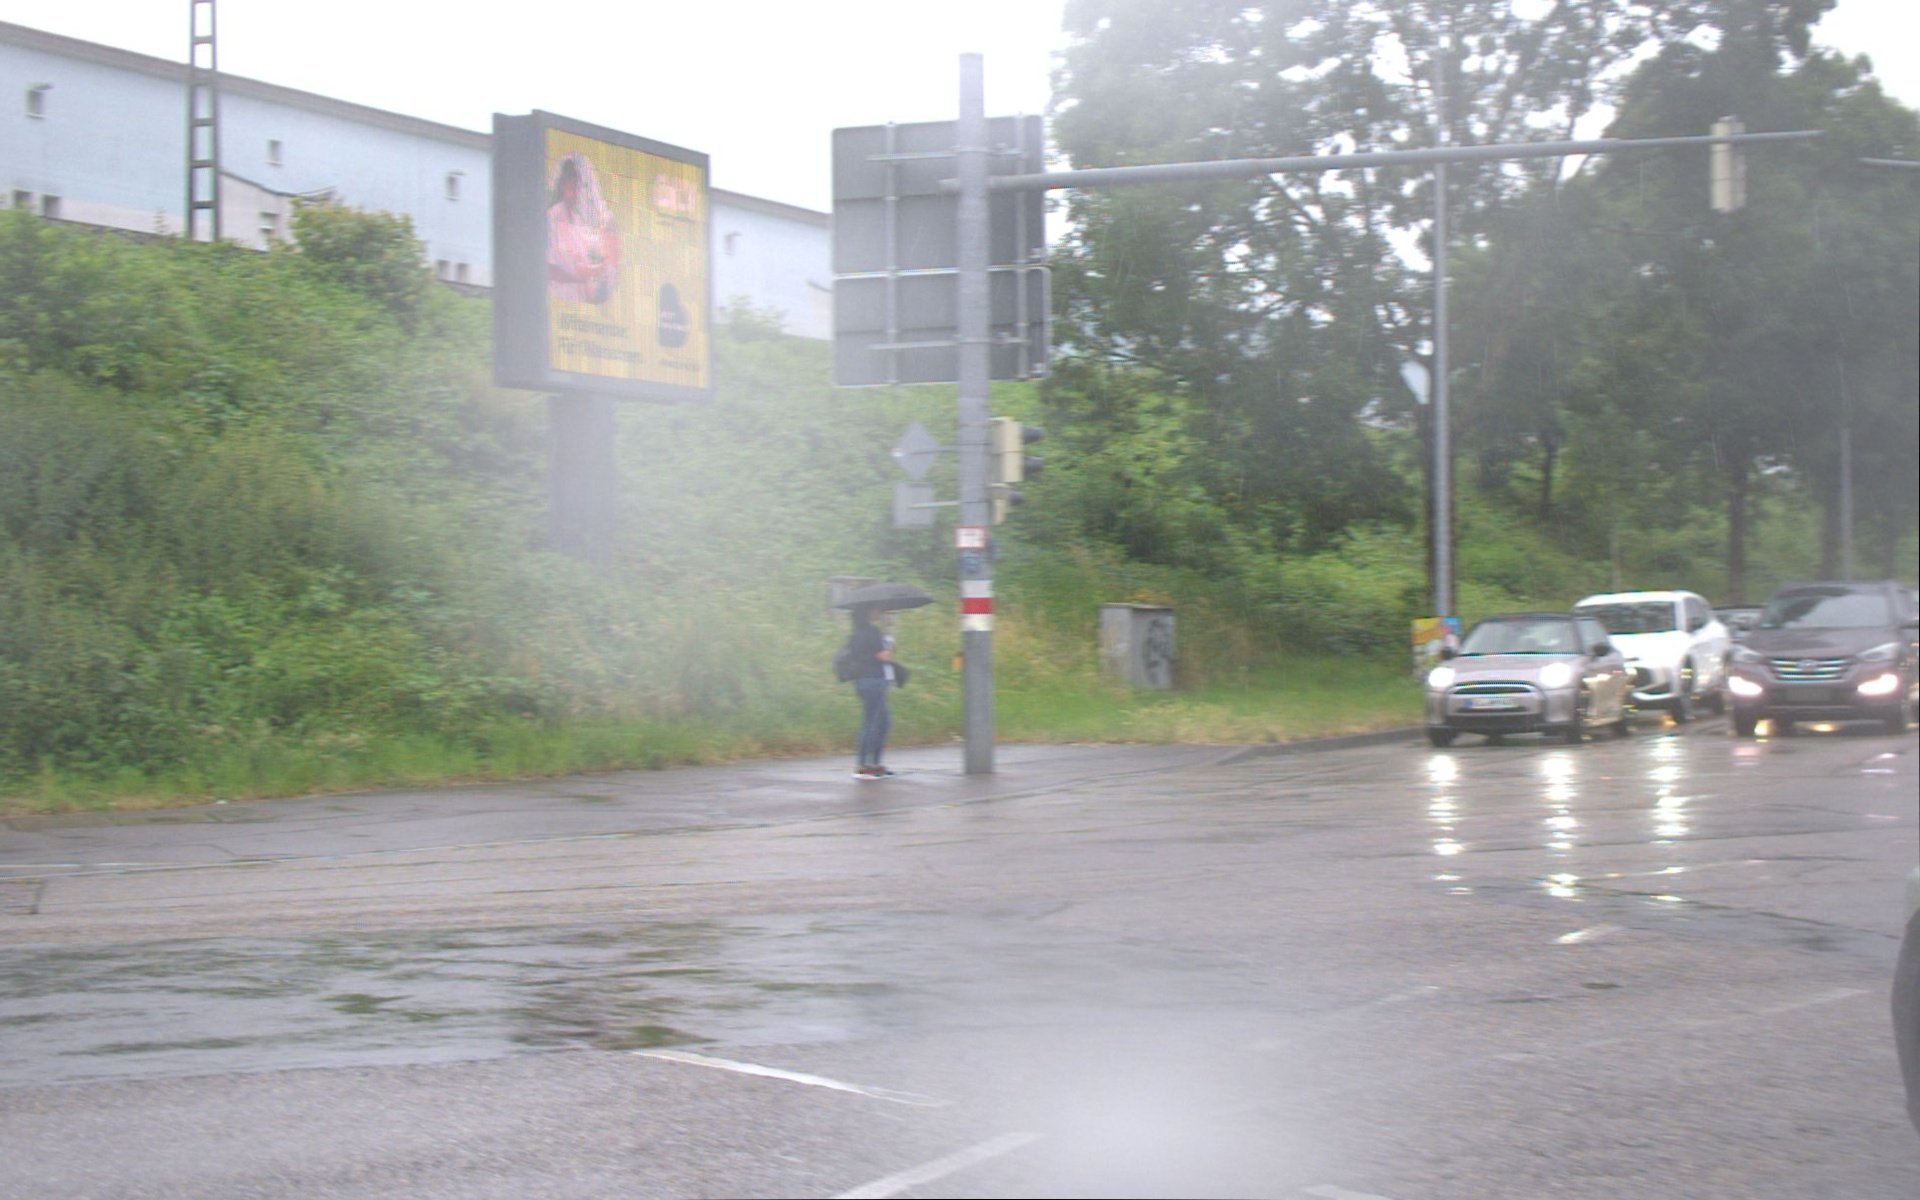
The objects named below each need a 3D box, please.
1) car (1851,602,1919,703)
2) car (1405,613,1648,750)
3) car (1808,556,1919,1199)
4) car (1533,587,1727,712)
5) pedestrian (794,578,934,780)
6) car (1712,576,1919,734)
[{"bbox_3d":[13.995,0.729,49.480,1.829,1.353,3.996,-1,0,21],"label":"car"},{"bbox_3d":[6.312,0.866,37.990,1.894,1.344,3.996,-1,1,21],"label":"car"},{"bbox_3d":[3.185,0.659,5.661,1.870,1.518,4.088,-1,0,-12],"label":"car"},{"bbox_3d":[8.573,0.598,43.759,1.829,1.477,3.996,-1,0,20],"label":"car"},{"bbox_3d":[-0.825,0.671,29.733,1.002,1.713,0.819,0,0,15],"label":"pedestrian"},{"bbox_3d":[9.914,0.573,38.446,2.025,1.651,4.056,-1,0,26],"label":"car"}]
